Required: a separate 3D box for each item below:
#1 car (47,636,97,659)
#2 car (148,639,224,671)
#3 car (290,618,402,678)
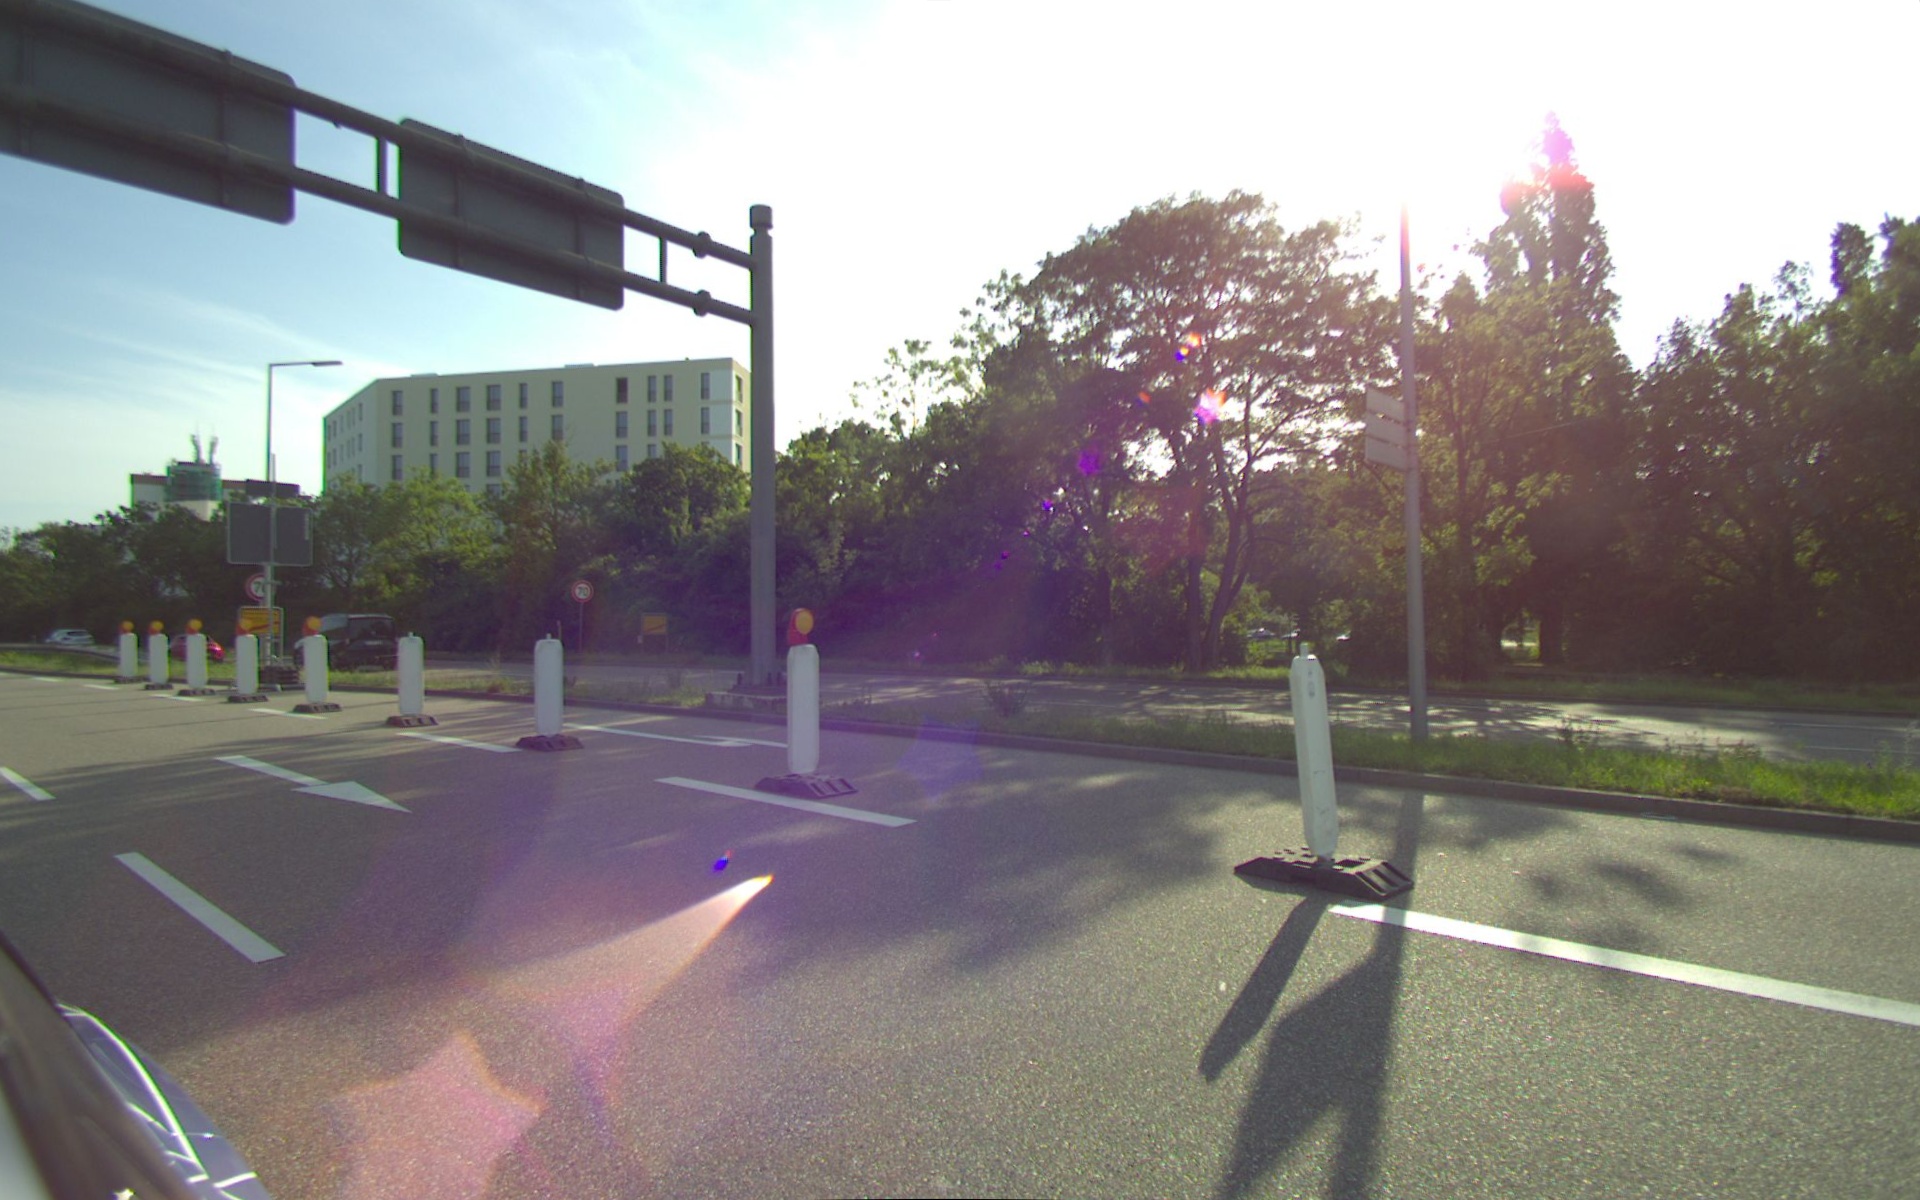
[{"bbox_3d":[-55.111,2.932,62.792,4.058,1.386,1.624,-2,-1,38],"label":"car"},{"bbox_3d":[-31.050,2.177,40.554,3.666,1.166,1.497,-2,-1,37],"label":"car"},{"bbox_3d":[-19.872,1.528,32.677,4.118,1.820,1.768,-2,-2,38],"label":"car"}]
